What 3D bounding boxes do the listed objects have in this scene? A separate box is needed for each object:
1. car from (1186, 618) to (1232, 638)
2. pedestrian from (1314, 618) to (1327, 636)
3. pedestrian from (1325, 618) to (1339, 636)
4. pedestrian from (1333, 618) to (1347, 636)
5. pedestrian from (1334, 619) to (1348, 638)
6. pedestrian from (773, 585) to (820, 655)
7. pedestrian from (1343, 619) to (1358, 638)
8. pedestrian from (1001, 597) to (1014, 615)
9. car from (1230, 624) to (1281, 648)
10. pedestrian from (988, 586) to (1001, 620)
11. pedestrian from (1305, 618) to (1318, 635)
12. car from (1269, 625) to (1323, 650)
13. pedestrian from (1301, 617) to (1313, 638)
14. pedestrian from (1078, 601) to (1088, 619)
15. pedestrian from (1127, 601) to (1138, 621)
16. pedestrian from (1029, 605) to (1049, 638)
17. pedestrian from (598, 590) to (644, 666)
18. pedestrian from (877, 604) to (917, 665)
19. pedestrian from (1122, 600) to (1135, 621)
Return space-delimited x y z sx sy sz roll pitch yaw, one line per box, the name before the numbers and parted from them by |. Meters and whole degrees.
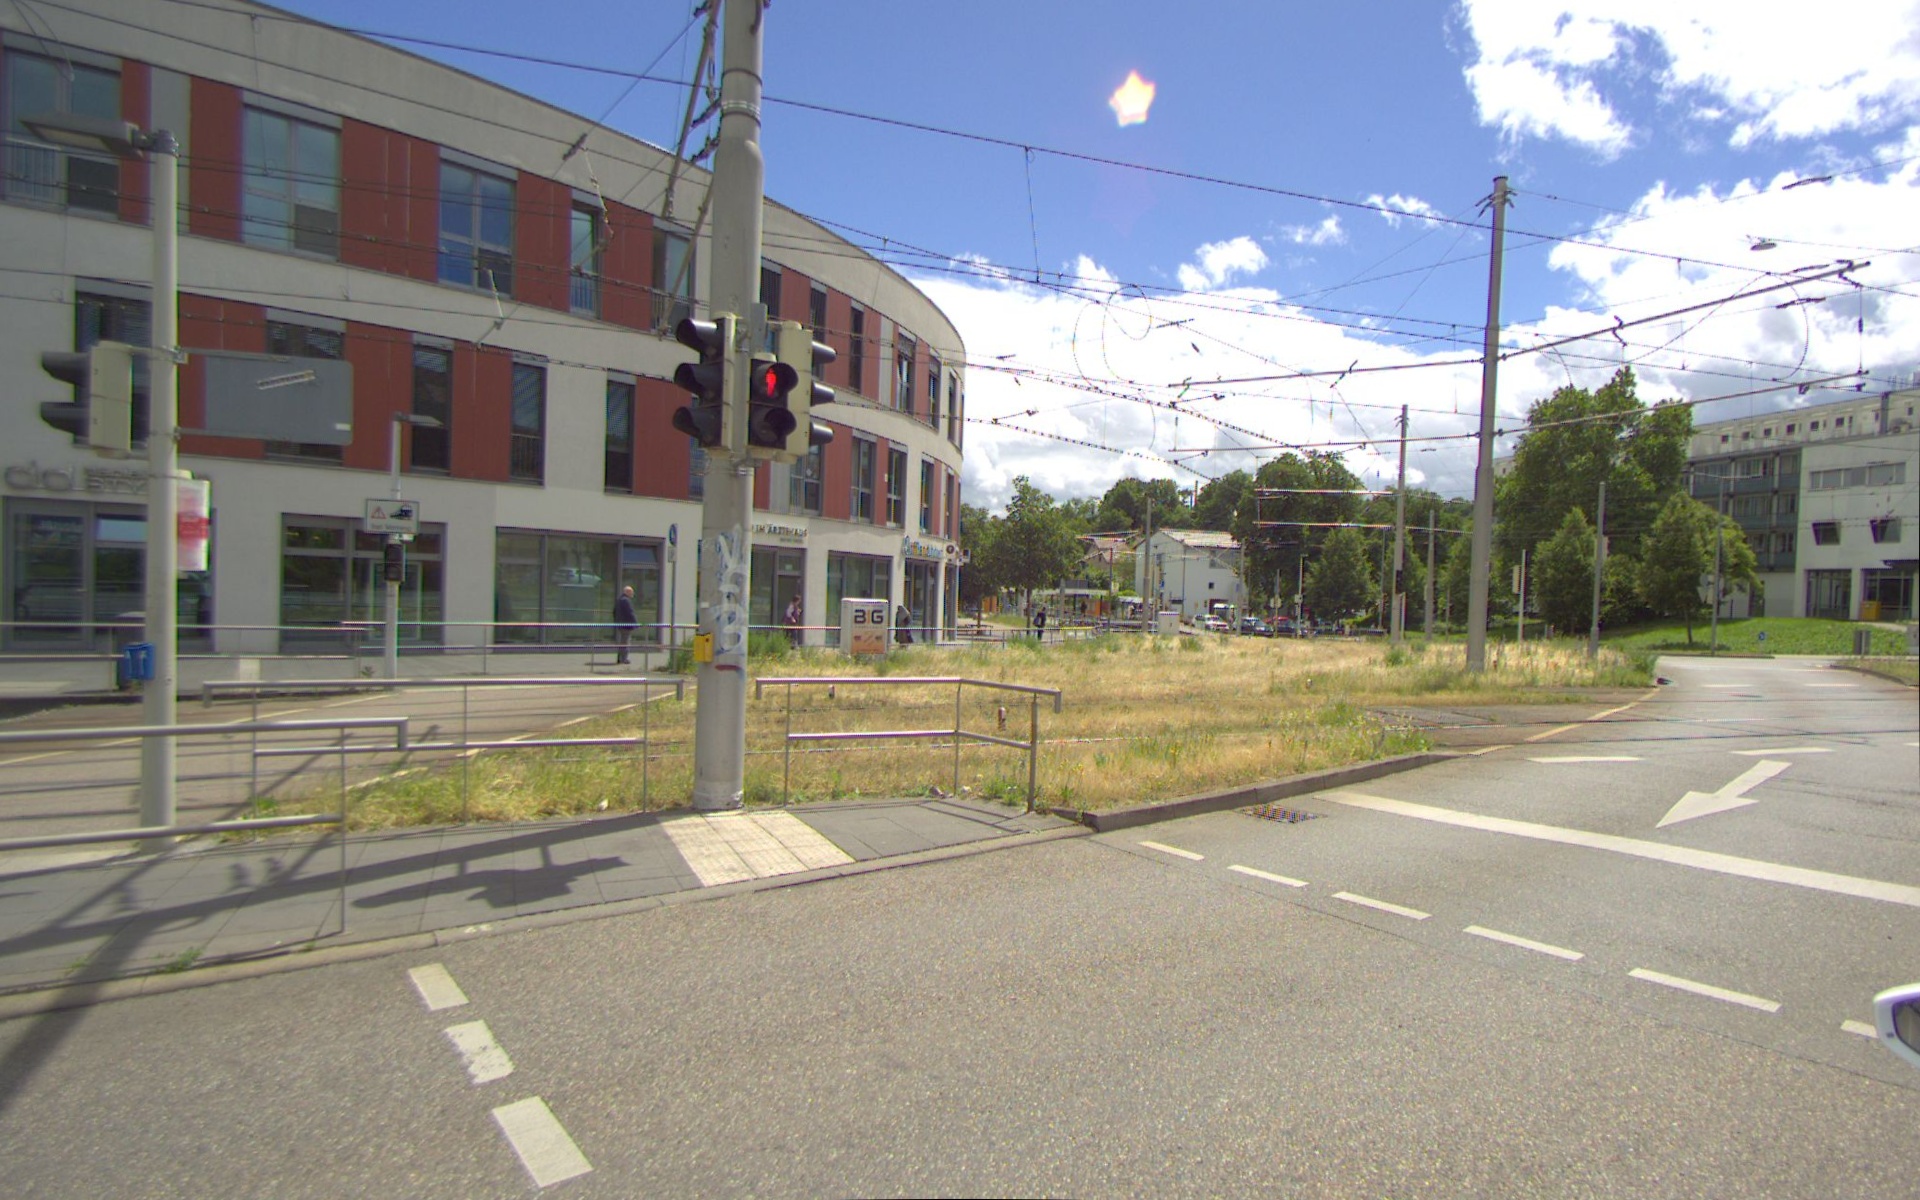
car | 20.820 2.324 84.230 1.906 1.576 4.479 2 -1 -14
pedestrian | 33.288 2.466 92.712 0.829 1.597 0.812 1 0 -20
pedestrian | 33.212 2.399 89.782 0.829 1.597 0.812 1 0 -20
pedestrian | 34.113 2.430 90.097 0.829 1.597 0.812 1 0 -20
pedestrian | 33.162 2.478 87.481 0.829 1.597 0.812 1 0 -20
pedestrian | -4.810 0.593 29.609 1.084 1.994 0.865 2 -2 4
pedestrian | 34.154 2.512 87.822 0.829 1.597 0.812 1 0 -20
pedestrian | 5.666 0.738 119.990 1.239 2.040 1.122 2 -1 -14
car | 22.813 2.767 77.733 1.886 1.672 4.243 2 -1 -14
pedestrian | 6.141 0.563 178.548 1.962 5.998 2.370 2 -1 -4
pedestrian | 32.262 2.427 92.172 0.829 1.597 0.812 1 0 -20
car | 25.884 2.849 77.504 1.989 1.814 4.227 2 -1 -14
pedestrian | 33.212 2.628 96.162 0.817 1.891 0.818 1 0 -11
pedestrian | 11.730 0.983 95.502 0.743 1.707 0.672 1 0 -11
pedestrian | 14.933 0.982 86.821 0.743 1.707 0.672 1 0 -11
pedestrian | 3.949 1.070 50.025 0.847 1.646 0.733 1 -1 12
pedestrian | -7.305 0.600 21.634 0.687 1.601 0.726 1 0 -44
pedestrian | -2.111 1.140 33.761 0.848 1.994 1.115 1 -1 25
pedestrian | 14.461 0.919 86.124 0.823 1.777 0.796 1 0 -11
